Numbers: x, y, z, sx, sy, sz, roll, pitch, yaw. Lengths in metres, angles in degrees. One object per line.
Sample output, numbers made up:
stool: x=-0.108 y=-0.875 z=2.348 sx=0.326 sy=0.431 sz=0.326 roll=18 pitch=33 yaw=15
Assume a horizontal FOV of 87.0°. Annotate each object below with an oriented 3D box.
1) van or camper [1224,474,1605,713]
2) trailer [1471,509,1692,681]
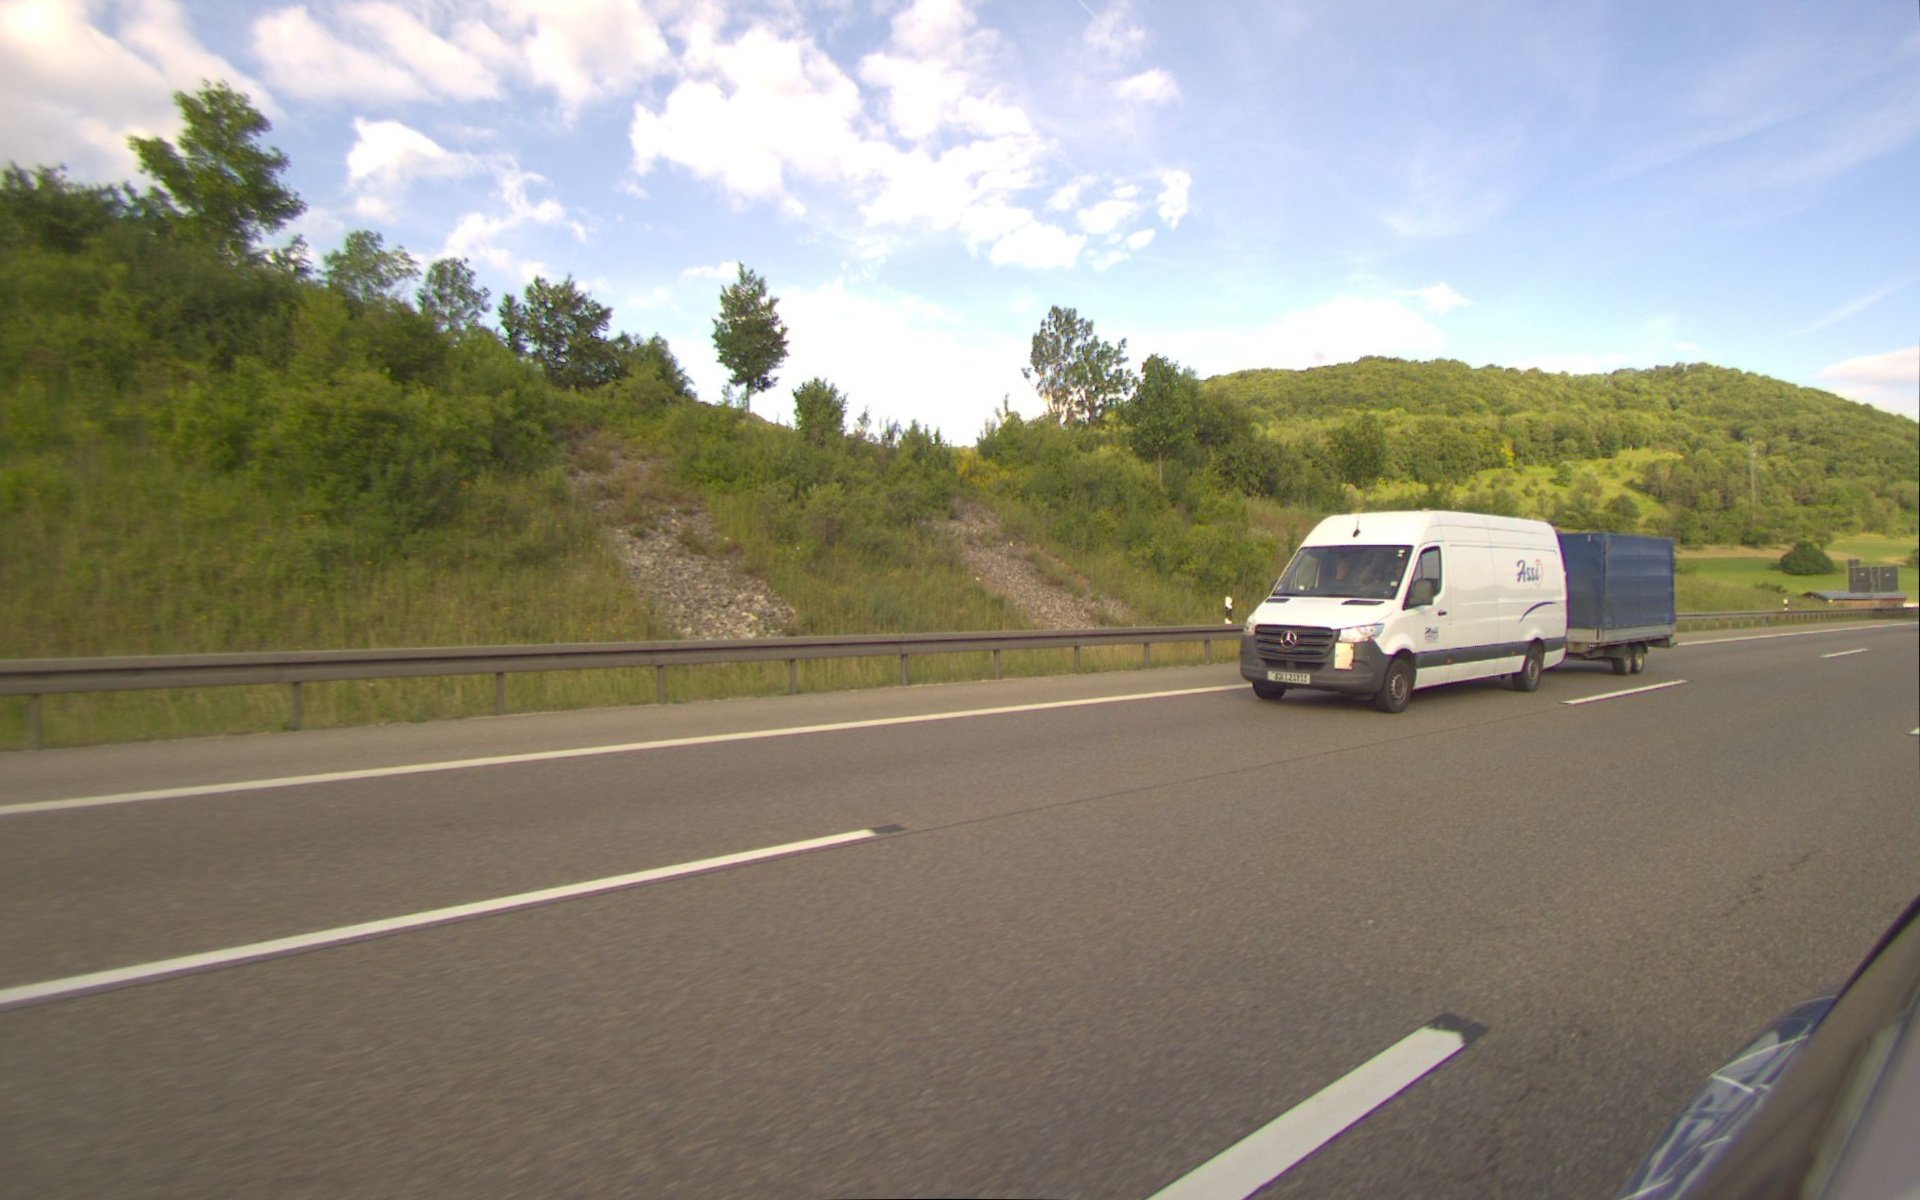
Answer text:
van or camper: x=6.919 y=-0.074 z=14.749 sx=7.387 sy=2.752 sz=1.998 roll=0 pitch=0 yaw=-39
trailer: x=11.628 y=-0.099 z=18.767 sx=5.156 sy=2.760 sz=1.997 roll=0 pitch=0 yaw=-40
